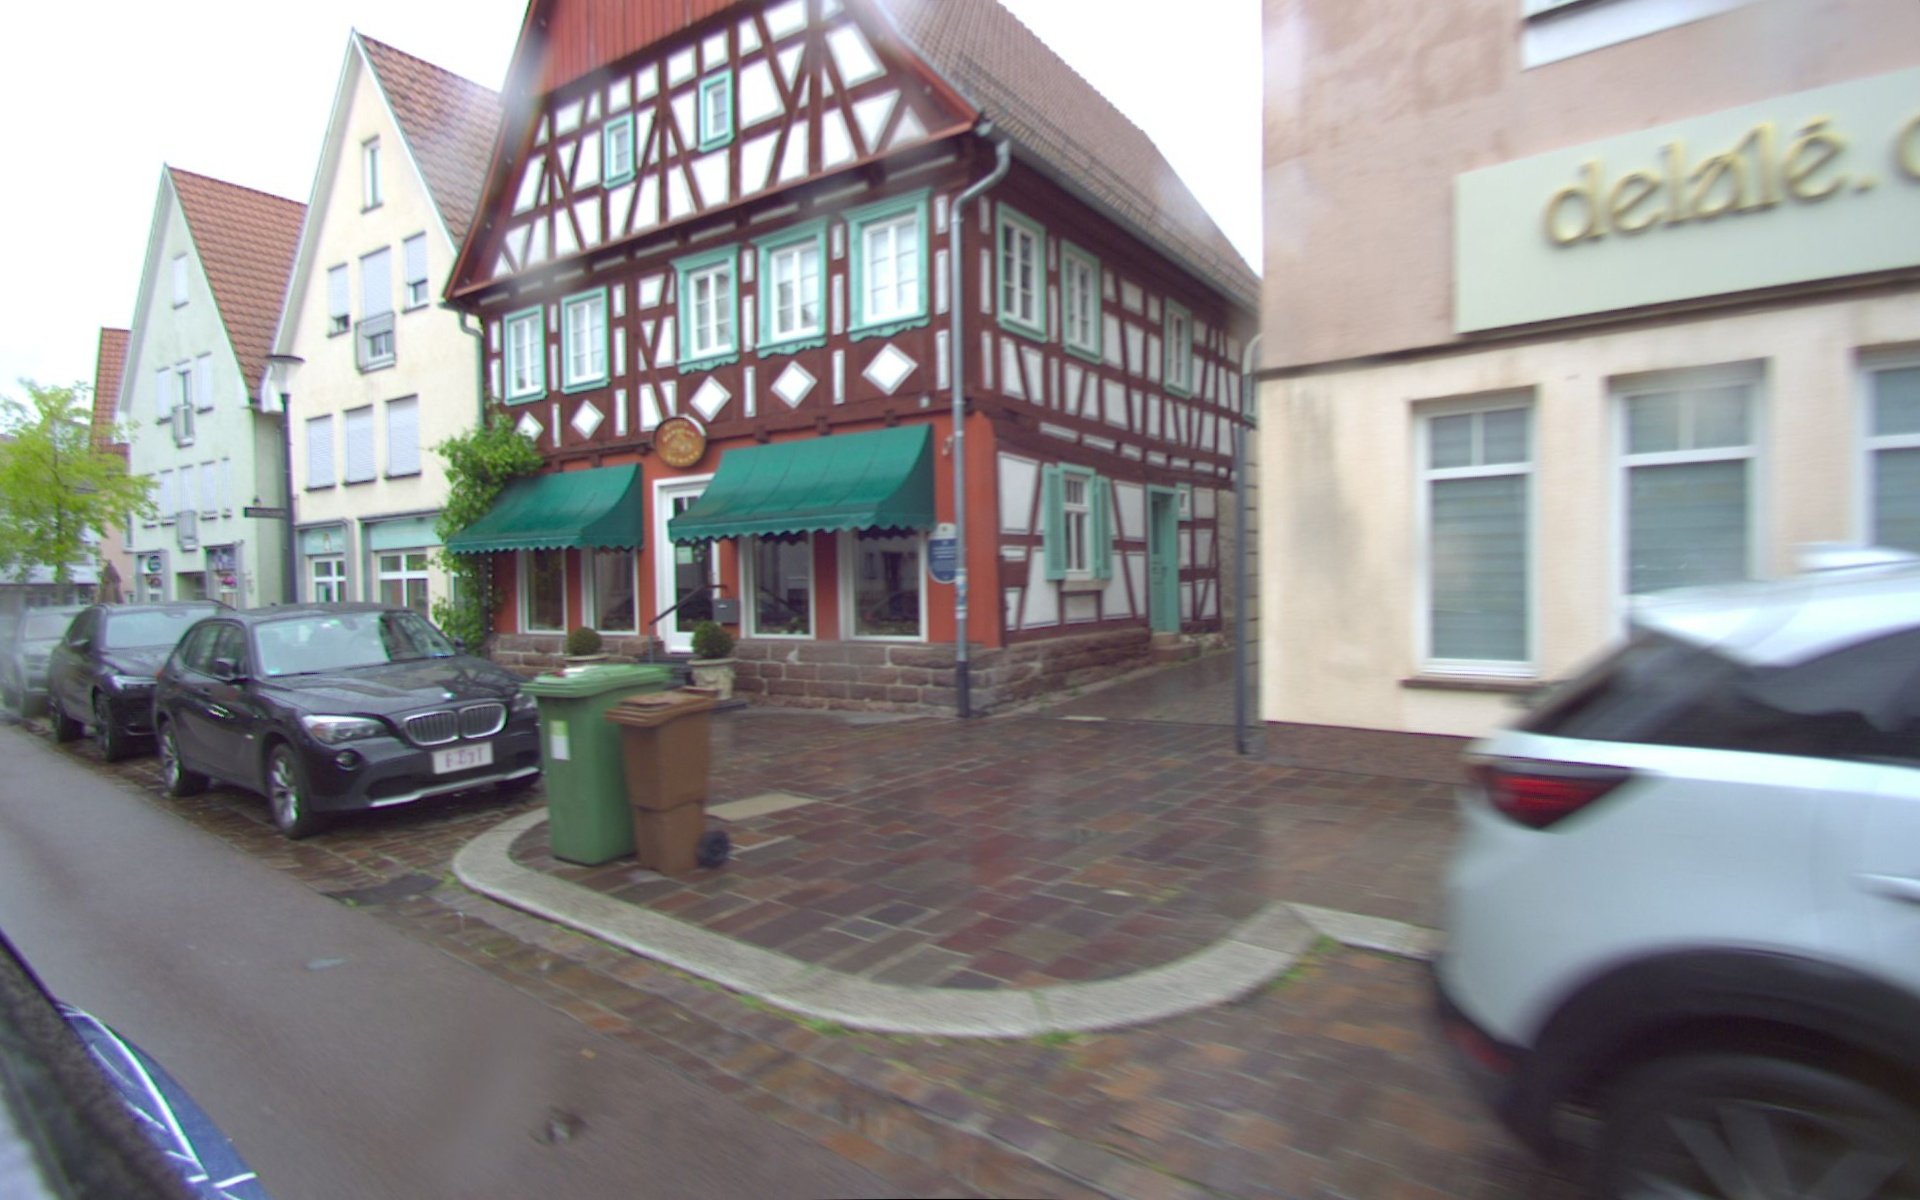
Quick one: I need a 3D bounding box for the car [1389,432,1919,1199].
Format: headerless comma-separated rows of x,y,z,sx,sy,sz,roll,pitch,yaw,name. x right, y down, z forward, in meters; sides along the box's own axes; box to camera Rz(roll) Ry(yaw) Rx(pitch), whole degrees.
2.969,0.517,1.427,3.999,1.578,1.808,0,1,42,car

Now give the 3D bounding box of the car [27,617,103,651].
-51.090,1.914,57.861,1.666,1.702,4.292,-1,1,-18,car

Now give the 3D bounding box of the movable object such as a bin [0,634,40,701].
-17.909,1.279,19.216,0.523,1.210,0.595,0,1,44,movable object such as a bin

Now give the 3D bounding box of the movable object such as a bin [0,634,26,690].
-19.607,1.270,20.741,0.725,1.087,0.614,0,1,43,movable object such as a bin

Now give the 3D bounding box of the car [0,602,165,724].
-14.875,0.918,16.913,4.479,1.687,1.753,0,2,43,car

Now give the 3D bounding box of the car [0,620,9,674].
-28.063,1.341,27.976,4.619,1.443,1.785,-2,-1,37,car

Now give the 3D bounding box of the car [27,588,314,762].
-9.553,0.725,12.107,4.537,1.687,1.815,0,1,40,car

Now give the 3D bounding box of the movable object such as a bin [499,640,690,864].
-2.052,0.795,5.691,0.763,1.090,0.739,0,1,43,movable object such as a bin

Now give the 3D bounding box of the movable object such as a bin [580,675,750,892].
-1.536,0.912,5.280,0.562,0.962,0.649,0,1,43,movable object such as a bin

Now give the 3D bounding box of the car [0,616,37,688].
-23.292,1.213,24.113,3.976,1.557,1.575,0,1,43,car

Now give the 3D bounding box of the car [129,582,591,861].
-4.974,0.716,8.140,4.278,1.563,1.815,0,4,40,car

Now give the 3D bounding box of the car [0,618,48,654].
-49.229,1.825,52.162,1.667,1.702,3.969,-1,1,-15,car
